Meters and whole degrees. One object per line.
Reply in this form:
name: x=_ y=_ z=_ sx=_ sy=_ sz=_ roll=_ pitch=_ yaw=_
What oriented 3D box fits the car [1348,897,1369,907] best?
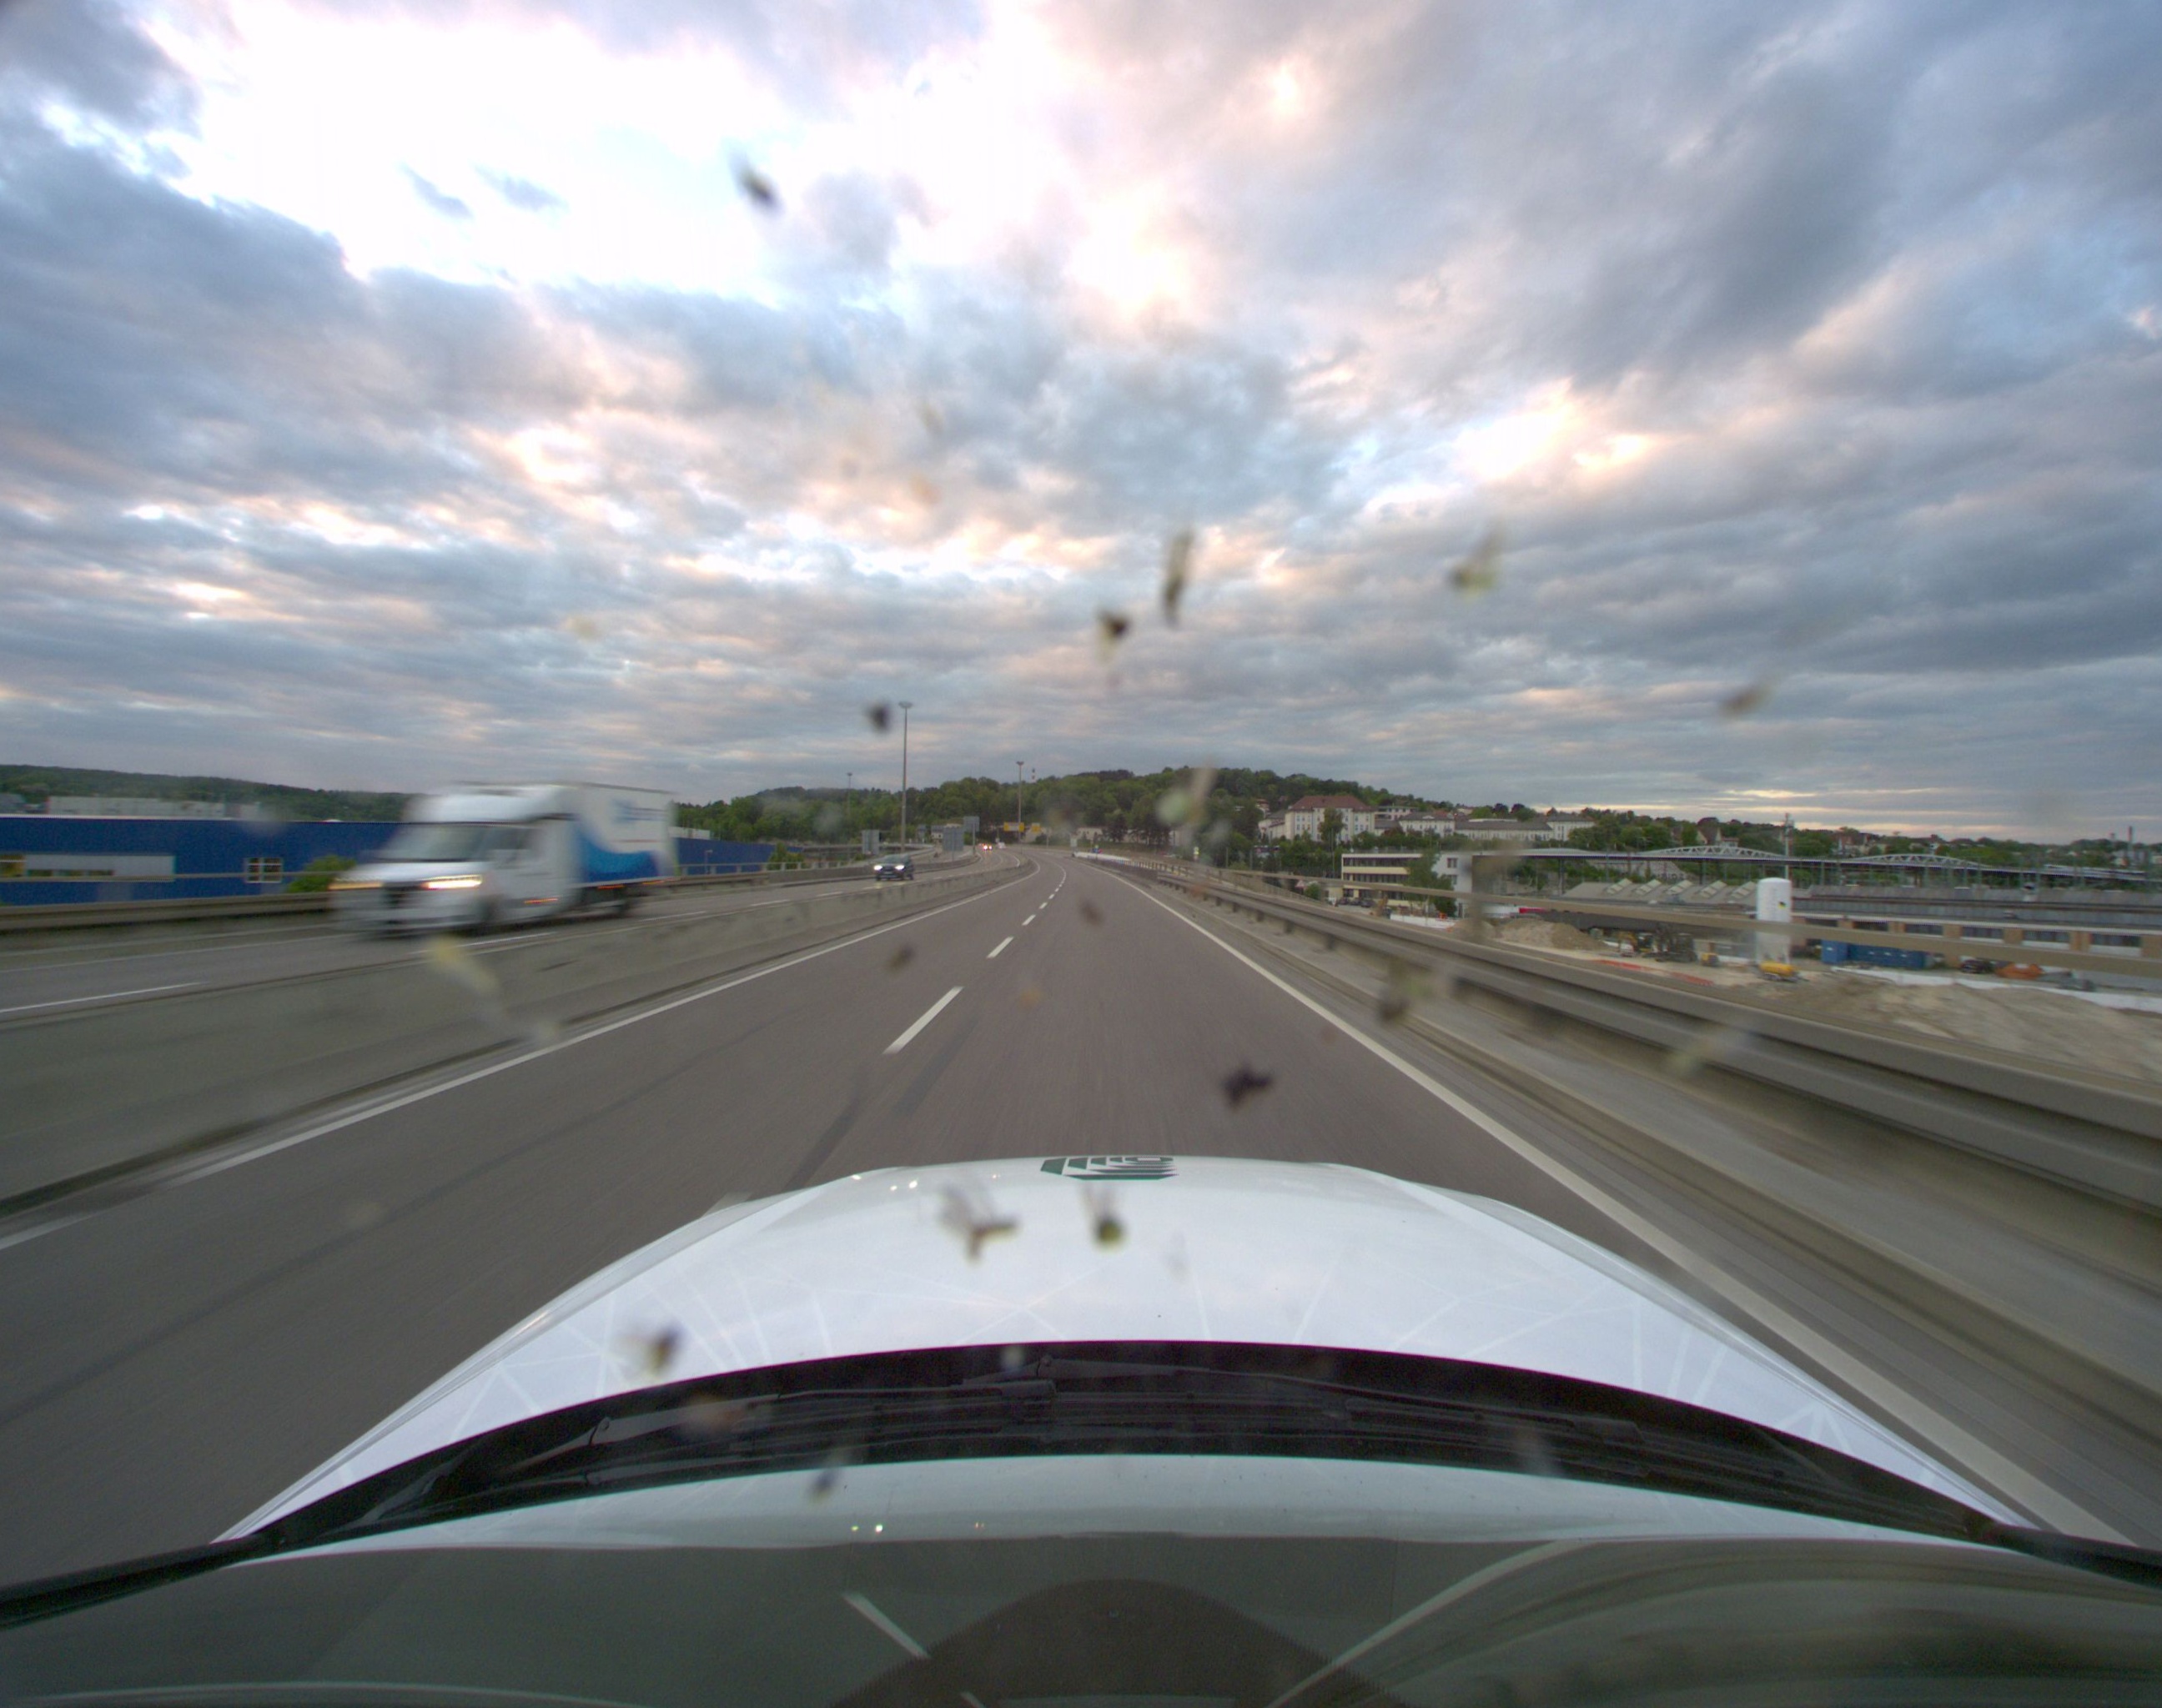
car: x=54.222 y=9.342 z=158.939 sx=4.015 sy=1.565 sz=1.813 roll=4 pitch=2 yaw=-35

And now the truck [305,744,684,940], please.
truck: x=-11.740 y=-0.182 z=17.489 sx=2.525 sy=3.297 sz=7.450 roll=0 pitch=0 yaw=2

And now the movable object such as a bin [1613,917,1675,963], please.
movable object such as a bin: x=61.870 y=9.456 z=89.510 sx=4.950 sy=4.310 sz=2.770 roll=6 pitch=-1 yaw=-16

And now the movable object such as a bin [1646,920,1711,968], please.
movable object such as a bin: x=62.929 y=9.430 z=85.815 sx=4.950 sy=4.310 sz=2.770 roll=6 pitch=-1 yaw=-16

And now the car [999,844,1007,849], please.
car: x=-23.053 y=-2.127 z=240.266 sx=1.633 sy=1.387 sz=3.981 roll=-1 pitch=1 yaw=-14

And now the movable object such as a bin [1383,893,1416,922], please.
movable object such as a bin: x=55.416 y=9.235 z=141.742 sx=2.778 sy=4.310 sz=4.936 roll=6 pitch=0 yaw=-13

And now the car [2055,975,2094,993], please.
car: x=97.095 y=12.712 z=79.601 sx=4.013 sy=1.420 sz=1.853 roll=6 pitch=0 yaw=-32

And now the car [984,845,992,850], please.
car: x=-26.234 y=-1.831 z=229.301 sx=1.831 sy=1.480 sz=4.268 roll=0 pitch=0 yaw=-13

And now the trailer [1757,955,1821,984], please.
trailer: x=62.643 y=10.228 z=72.097 sx=1.992 sy=1.803 sz=3.835 roll=6 pitch=0 yaw=-7

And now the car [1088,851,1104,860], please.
car: x=3.060 y=0.228 z=166.412 sx=2.305 sy=1.763 sz=4.247 roll=1 pitch=1 yaw=-11

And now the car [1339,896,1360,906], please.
car: x=53.403 y=9.364 z=162.074 sx=4.015 sy=1.565 sz=1.813 roll=4 pitch=2 yaw=-35

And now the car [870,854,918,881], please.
car: x=-11.389 y=0.791 z=49.946 sx=1.971 sy=1.605 sz=4.439 roll=0 pitch=0 yaw=-1
